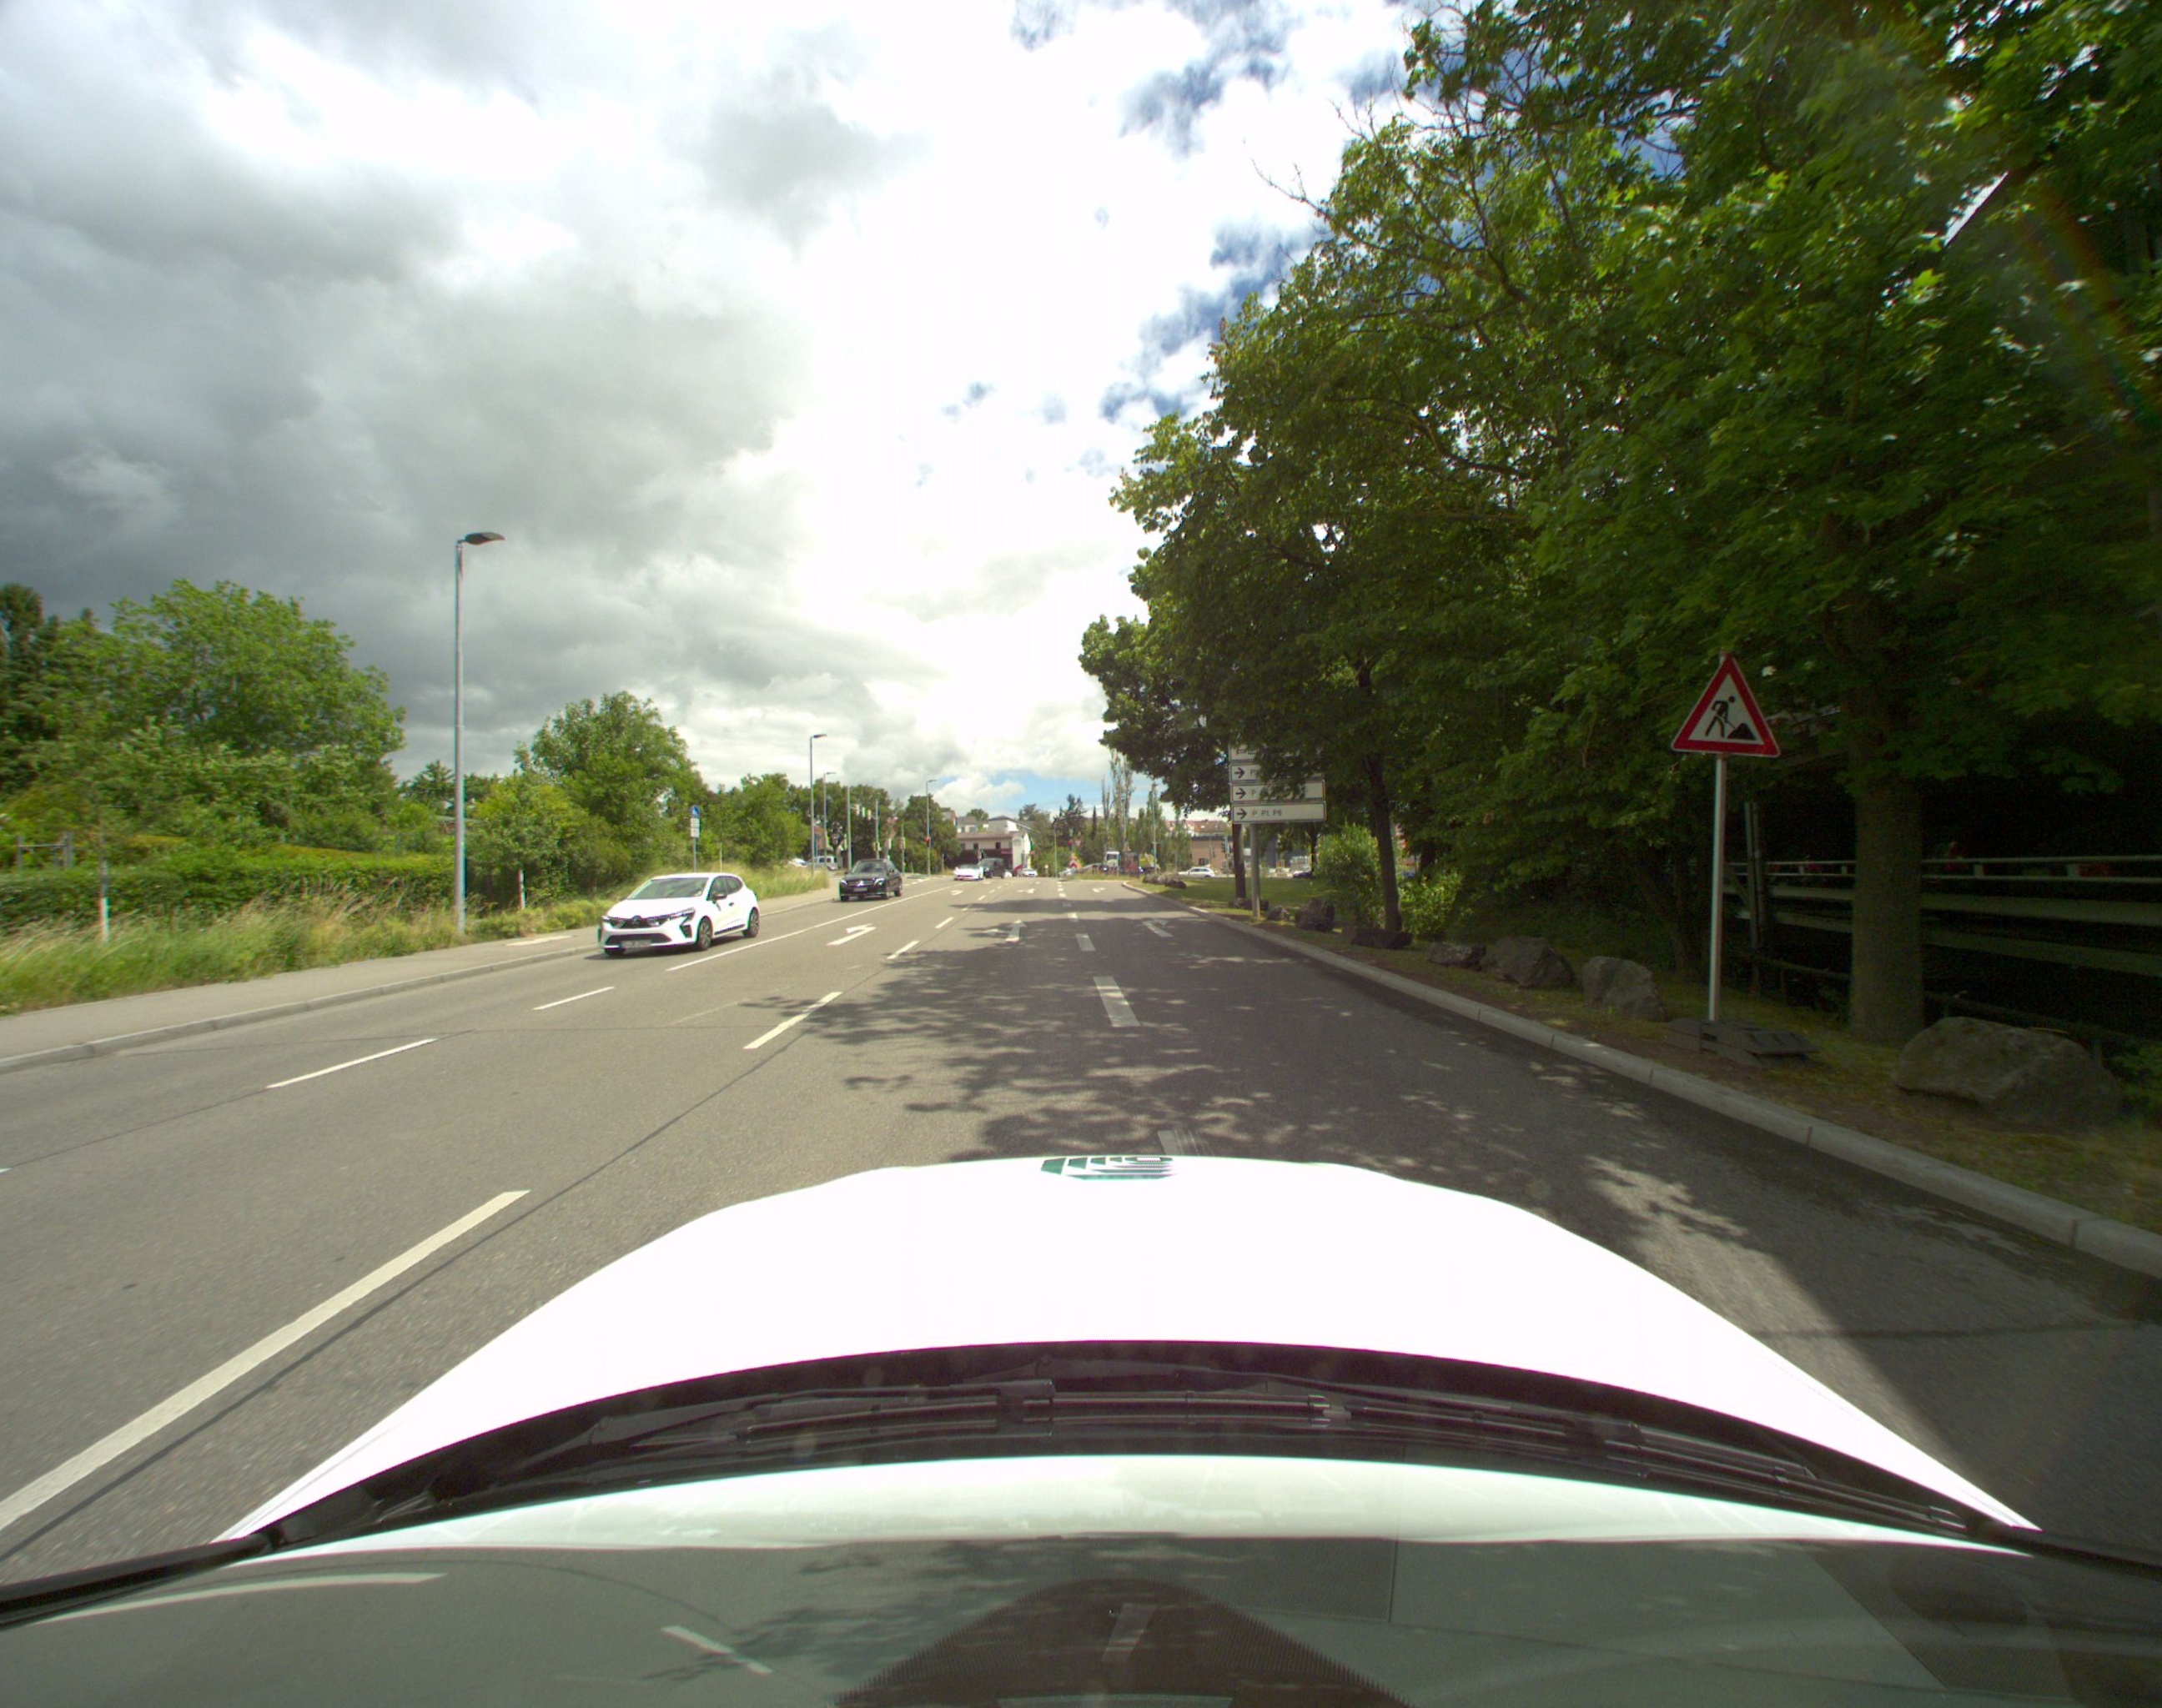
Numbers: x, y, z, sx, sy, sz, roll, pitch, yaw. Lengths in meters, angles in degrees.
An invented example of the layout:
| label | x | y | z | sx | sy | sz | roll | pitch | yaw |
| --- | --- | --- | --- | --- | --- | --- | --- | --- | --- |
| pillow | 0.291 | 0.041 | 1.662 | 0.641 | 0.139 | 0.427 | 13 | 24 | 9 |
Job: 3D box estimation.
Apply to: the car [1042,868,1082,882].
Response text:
| label | x | y | z | sx | sy | sz | roll | pitch | yaw |
| --- | --- | --- | --- | --- | --- | --- | --- | --- | --- |
| car | -2.491 | 2.753 | 106.180 | 4.752 | 1.779 | 1.800 | -2 | -3 | 24 |

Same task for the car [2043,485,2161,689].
| label | x | y | z | sx | sy | sz | roll | pitch | yaw |
| --- | --- | --- | --- | --- | --- | --- | --- | --- | --- |
| car | 11.916 | -2.660 | 7.446 | 3.659 | 1.619 | 1.668 | -2 | 1 | 22 |

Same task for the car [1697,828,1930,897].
| label | x | y | z | sx | sy | sz | roll | pitch | yaw |
| --- | --- | --- | --- | --- | --- | --- | --- | --- | --- |
| car | 17.608 | 0.223 | 19.811 | 3.811 | 1.490 | 1.704 | -2 | -1 | 22 |

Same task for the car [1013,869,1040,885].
| label | x | y | z | sx | sy | sz | roll | pitch | yaw |
| --- | --- | --- | --- | --- | --- | --- | --- | --- | --- |
| car | -7.419 | 3.129 | 111.056 | 1.913 | 1.860 | 3.770 | -2 | -2 | -33 |

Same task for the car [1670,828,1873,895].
| label | x | y | z | sx | sy | sz | roll | pitch | yaw |
| --- | --- | --- | --- | --- | --- | --- | --- | --- | --- |
| car | 18.525 | 0.238 | 22.075 | 3.811 | 1.626 | 1.704 | -2 | -1 | 22 |

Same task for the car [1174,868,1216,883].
| label | x | y | z | sx | sy | sz | roll | pitch | yaw |
| --- | --- | --- | --- | --- | --- | --- | --- | --- | --- |
| car | 12.245 | 2.308 | 87.469 | 4.345 | 1.469 | 1.623 | 1 | -1 | 3 |

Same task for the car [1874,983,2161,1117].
| label | x | y | z | sx | sy | sz | roll | pitch | yaw |
| --- | --- | --- | --- | --- | --- | --- | --- | --- | --- |
| car | 14.358 | 2.753 | 11.688 | 3.812 | 1.453 | 1.846 | -2 | -1 | 20 |

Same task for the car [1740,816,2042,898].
| label | x | y | z | sx | sy | sz | roll | pitch | yaw |
| --- | --- | --- | --- | --- | --- | --- | --- | --- | --- |
| car | 15.629 | 0.095 | 15.999 | 3.811 | 1.392 | 1.704 | -2 | -1 | 22 |

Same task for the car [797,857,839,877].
| label | x | y | z | sx | sy | sz | roll | pitch | yaw |
| --- | --- | --- | --- | --- | --- | --- | --- | --- | --- |
| car | -29.770 | 1.511 | 92.178 | 3.974 | 2.014 | 1.999 | -4 | -2 | 0 |

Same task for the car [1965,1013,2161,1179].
| label | x | y | z | sx | sy | sz | roll | pitch | yaw |
| --- | --- | --- | --- | --- | --- | --- | --- | --- | --- |
| car | 13.203 | 2.754 | 9.257 | 3.812 | 1.453 | 1.846 | -2 | -1 | 20 |

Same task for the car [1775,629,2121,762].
| label | x | y | z | sx | sy | sz | roll | pitch | yaw |
| --- | --- | --- | --- | --- | --- | --- | --- | --- | --- |
| car | 14.508 | -2.594 | 13.916 | 3.659 | 1.619 | 1.668 | -2 | 1 | 22 |

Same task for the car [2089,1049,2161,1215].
| label | x | y | z | sx | sy | sz | roll | pitch | yaw |
| --- | --- | --- | --- | --- | --- | --- | --- | --- | --- |
| car | 12.332 | 2.749 | 7.233 | 3.812 | 1.453 | 1.846 | -2 | -1 | 20 |

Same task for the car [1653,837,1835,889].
| label | x | y | z | sx | sy | sz | roll | pitch | yaw |
| --- | --- | --- | --- | --- | --- | --- | --- | --- | --- |
| car | 19.428 | 0.285 | 24.067 | 3.811 | 1.392 | 1.704 | -2 | -1 | 22 |

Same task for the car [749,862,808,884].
| label | x | y | z | sx | sy | sz | roll | pitch | yaw |
| --- | --- | --- | --- | --- | --- | --- | --- | --- | --- |
| car | -29.107 | 1.840 | 78.422 | 4.940 | 1.937 | 1.910 | 1 | -1 | -1 |

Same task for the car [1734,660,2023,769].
| label | x | y | z | sx | sy | sz | roll | pitch | yaw |
| --- | --- | --- | --- | --- | --- | --- | --- | --- | --- |
| car | 15.397 | -2.636 | 15.984 | 3.659 | 1.562 | 1.668 | -2 | 1 | 22 |

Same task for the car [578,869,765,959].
| label | x | y | z | sx | sy | sz | roll | pitch | yaw |
| --- | --- | --- | --- | --- | --- | --- | --- | --- | --- |
| car | -7.736 | 1.057 | 15.843 | 1.762 | 1.442 | 3.895 | -3 | -1 | -3 |

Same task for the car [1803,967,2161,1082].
| label | x | y | z | sx | sy | sz | roll | pitch | yaw |
| --- | --- | --- | --- | --- | --- | --- | --- | --- | --- |
| car | 14.985 | 2.772 | 13.685 | 3.812 | 1.453 | 1.846 | -2 | -1 | 20 |

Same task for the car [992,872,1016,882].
| label | x | y | z | sx | sy | sz | roll | pitch | yaw |
| --- | --- | --- | --- | --- | --- | --- | --- | --- | --- |
| car | -10.510 | 3.116 | 110.813 | 1.703 | 1.400 | 3.958 | 2 | -2 | -33 |

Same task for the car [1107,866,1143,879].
| label | x | y | z | sx | sy | sz | roll | pitch | yaw |
| --- | --- | --- | --- | --- | --- | --- | --- | --- | --- |
| car | 4.872 | 2.055 | 90.702 | 3.972 | 1.400 | 1.697 | 0 | -2 | 1 |

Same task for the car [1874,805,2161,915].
| label | x | y | z | sx | sy | sz | roll | pitch | yaw |
| --- | --- | --- | --- | --- | --- | --- | --- | --- | --- |
| car | 14.030 | 0.084 | 11.394 | 3.811 | 1.392 | 1.704 | -2 | -1 | 22 |

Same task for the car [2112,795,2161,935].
| label | x | y | z | sx | sy | sz | roll | pitch | yaw |
| --- | --- | --- | --- | --- | --- | --- | --- | --- | --- |
| car | 12.451 | 0.043 | 7.165 | 3.811 | 1.392 | 1.704 | -2 | -1 | 22 |

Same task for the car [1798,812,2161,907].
| label | x | y | z | sx | sy | sz | roll | pitch | yaw |
| --- | --- | --- | --- | --- | --- | --- | --- | --- | --- |
| car | 14.867 | 0.131 | 13.712 | 3.811 | 1.392 | 1.704 | -2 | -1 | 22 |

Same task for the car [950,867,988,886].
| label | x | y | z | sx | sy | sz | roll | pitch | yaw |
| --- | --- | --- | --- | --- | --- | --- | --- | --- | --- |
| car | -8.477 | 1.714 | 62.158 | 1.896 | 1.291 | 4.614 | -3 | -1 | 4 |

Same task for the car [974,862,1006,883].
| label | x | y | z | sx | sy | sz | roll | pitch | yaw |
| --- | --- | --- | --- | --- | --- | --- | --- | --- | --- |
| car | -8.122 | 1.661 | 73.077 | 1.776 | 1.779 | 4.819 | -1 | -2 | 6 |

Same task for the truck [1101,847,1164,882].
| label | x | y | z | sx | sy | sz | roll | pitch | yaw |
| --- | --- | --- | --- | --- | --- | --- | --- | --- | --- |
| truck | 5.920 | 1.240 | 94.292 | 6.919 | 3.579 | 2.847 | -4 | -2 | 1 |

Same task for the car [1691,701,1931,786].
| label | x | y | z | sx | sy | sz | roll | pitch | yaw |
| --- | --- | --- | --- | --- | --- | --- | --- | --- | --- |
| car | 16.229 | -2.412 | 18.345 | 3.659 | 1.431 | 1.668 | -2 | 1 | 22 |

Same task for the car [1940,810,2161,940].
| label | x | y | z | sx | sy | sz | roll | pitch | yaw |
| --- | --- | --- | --- | --- | --- | --- | --- | --- | --- |
| car | 12.820 | 0.199 | 9.252 | 3.811 | 1.392 | 1.704 | -2 | -1 | 22 |

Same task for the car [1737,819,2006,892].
| label | x | y | z | sx | sy | sz | roll | pitch | yaw |
| --- | --- | --- | --- | --- | --- | --- | --- | --- | --- |
| car | 17.004 | 0.071 | 17.774 | 3.811 | 1.392 | 1.704 | -2 | -1 | 22 |

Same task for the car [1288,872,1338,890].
| label | x | y | z | sx | sy | sz | roll | pitch | yaw |
| --- | --- | --- | --- | --- | --- | --- | --- | --- | --- |
| car | 24.532 | 2.827 | 86.323 | 4.931 | 1.690 | 1.917 | 1 | -1 | 13 |

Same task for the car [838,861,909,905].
| label | x | y | z | sx | sy | sz | roll | pitch | yaw |
| --- | --- | --- | --- | --- | --- | --- | --- | --- | --- |
| car | -8.582 | 1.150 | 34.061 | 1.816 | 1.654 | 4.529 | -3 | -1 | -2 |

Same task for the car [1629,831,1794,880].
| label | x | y | z | sx | sy | sz | roll | pitch | yaw |
| --- | --- | --- | --- | --- | --- | --- | --- | --- | --- |
| car | 20.105 | 0.077 | 26.176 | 3.811 | 1.392 | 1.786 | -2 | -1 | 22 |
